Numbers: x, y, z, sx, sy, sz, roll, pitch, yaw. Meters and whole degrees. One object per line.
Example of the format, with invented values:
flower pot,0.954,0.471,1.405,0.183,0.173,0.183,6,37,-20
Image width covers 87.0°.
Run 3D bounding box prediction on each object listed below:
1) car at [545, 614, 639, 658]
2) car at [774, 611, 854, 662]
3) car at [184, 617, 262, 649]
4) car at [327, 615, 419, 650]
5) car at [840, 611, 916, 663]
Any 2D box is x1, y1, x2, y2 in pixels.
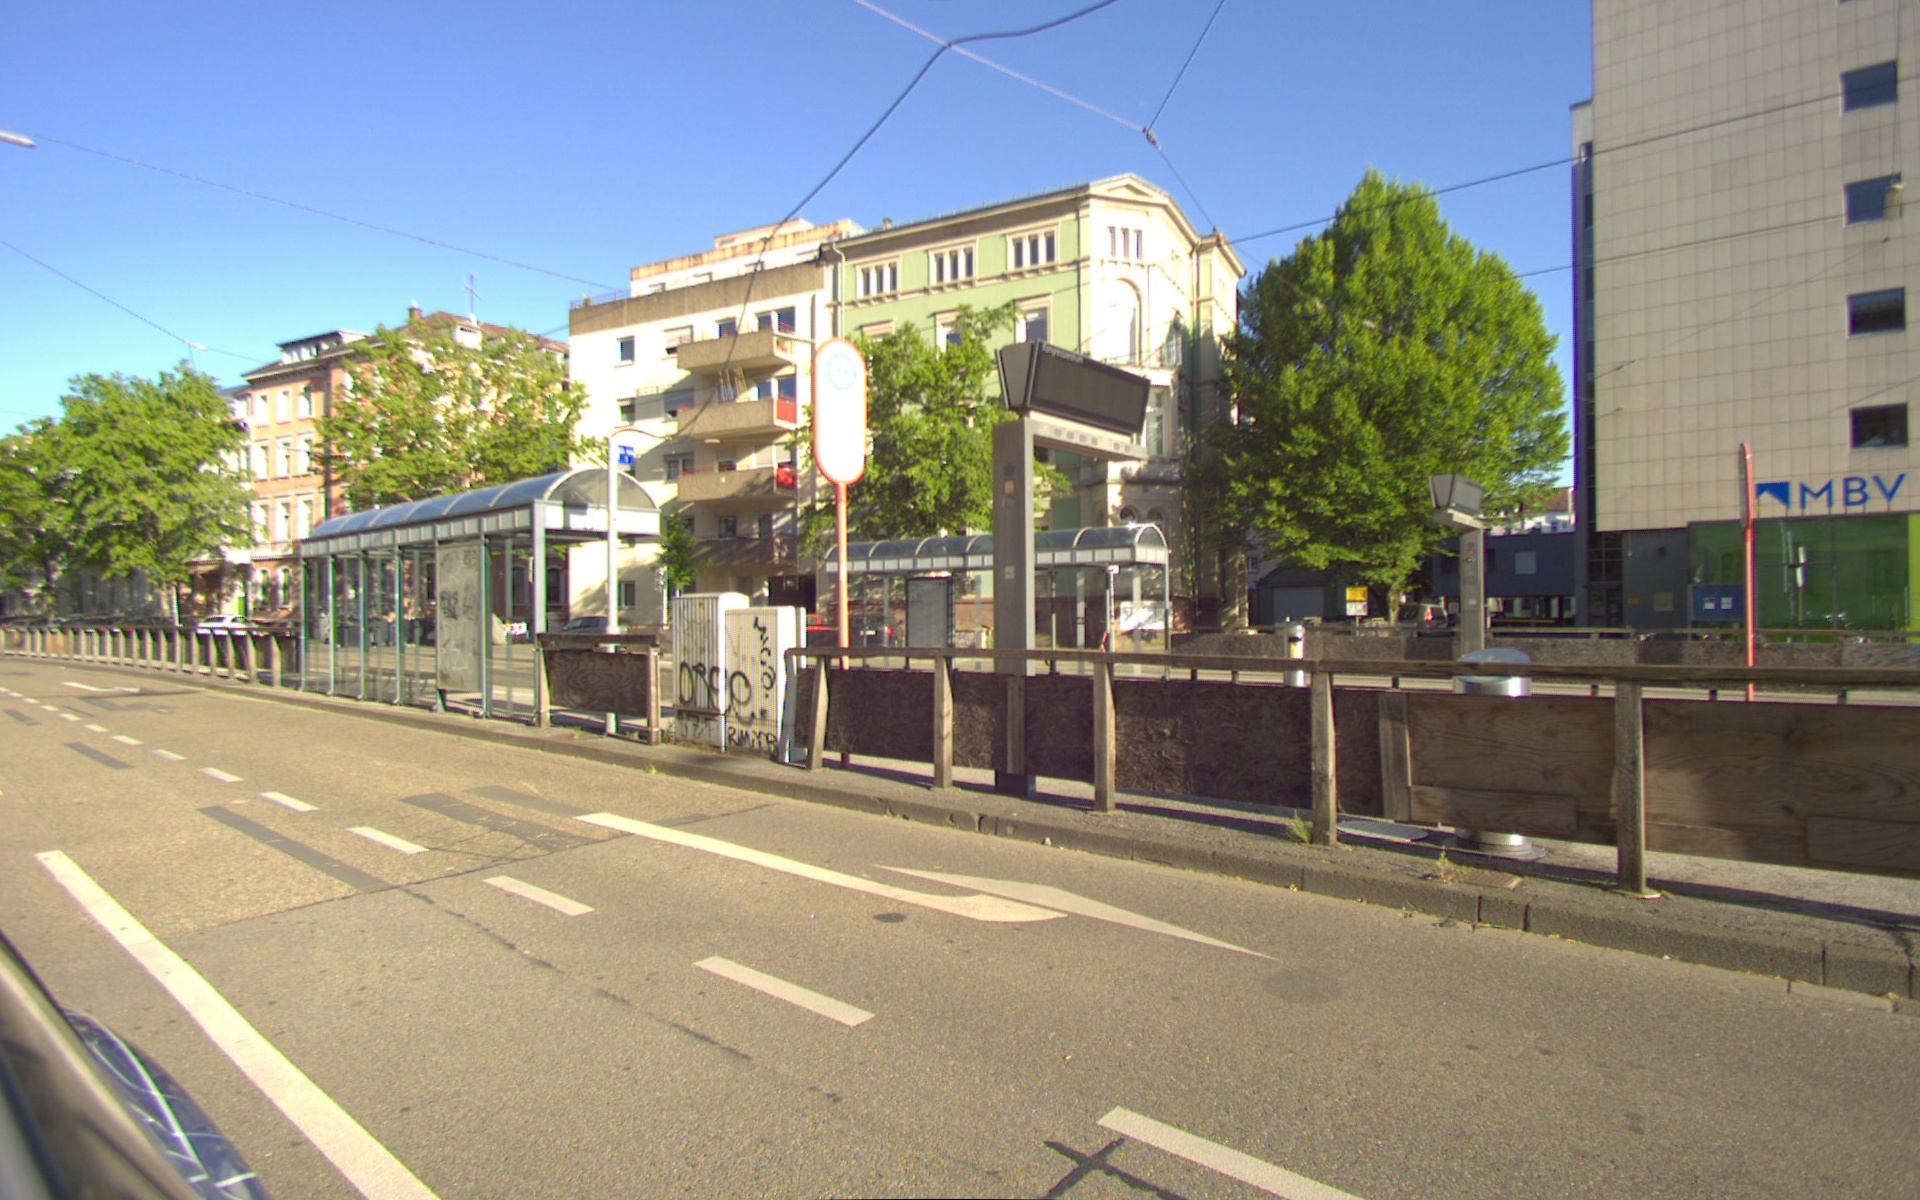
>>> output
car,-14.036,1.328,38.511,3.592,1.579,1.612,-1,0,35
car,-4.924,1.210,34.559,1.614,1.579,3.588,-1,0,11
car,-39.402,1.733,54.204,1.607,1.579,3.601,-1,0,-2
car,-28.402,1.554,49.047,1.626,1.579,3.560,-1,0,33
car,-2.651,1.181,33.363,1.614,1.579,3.588,-1,0,11
